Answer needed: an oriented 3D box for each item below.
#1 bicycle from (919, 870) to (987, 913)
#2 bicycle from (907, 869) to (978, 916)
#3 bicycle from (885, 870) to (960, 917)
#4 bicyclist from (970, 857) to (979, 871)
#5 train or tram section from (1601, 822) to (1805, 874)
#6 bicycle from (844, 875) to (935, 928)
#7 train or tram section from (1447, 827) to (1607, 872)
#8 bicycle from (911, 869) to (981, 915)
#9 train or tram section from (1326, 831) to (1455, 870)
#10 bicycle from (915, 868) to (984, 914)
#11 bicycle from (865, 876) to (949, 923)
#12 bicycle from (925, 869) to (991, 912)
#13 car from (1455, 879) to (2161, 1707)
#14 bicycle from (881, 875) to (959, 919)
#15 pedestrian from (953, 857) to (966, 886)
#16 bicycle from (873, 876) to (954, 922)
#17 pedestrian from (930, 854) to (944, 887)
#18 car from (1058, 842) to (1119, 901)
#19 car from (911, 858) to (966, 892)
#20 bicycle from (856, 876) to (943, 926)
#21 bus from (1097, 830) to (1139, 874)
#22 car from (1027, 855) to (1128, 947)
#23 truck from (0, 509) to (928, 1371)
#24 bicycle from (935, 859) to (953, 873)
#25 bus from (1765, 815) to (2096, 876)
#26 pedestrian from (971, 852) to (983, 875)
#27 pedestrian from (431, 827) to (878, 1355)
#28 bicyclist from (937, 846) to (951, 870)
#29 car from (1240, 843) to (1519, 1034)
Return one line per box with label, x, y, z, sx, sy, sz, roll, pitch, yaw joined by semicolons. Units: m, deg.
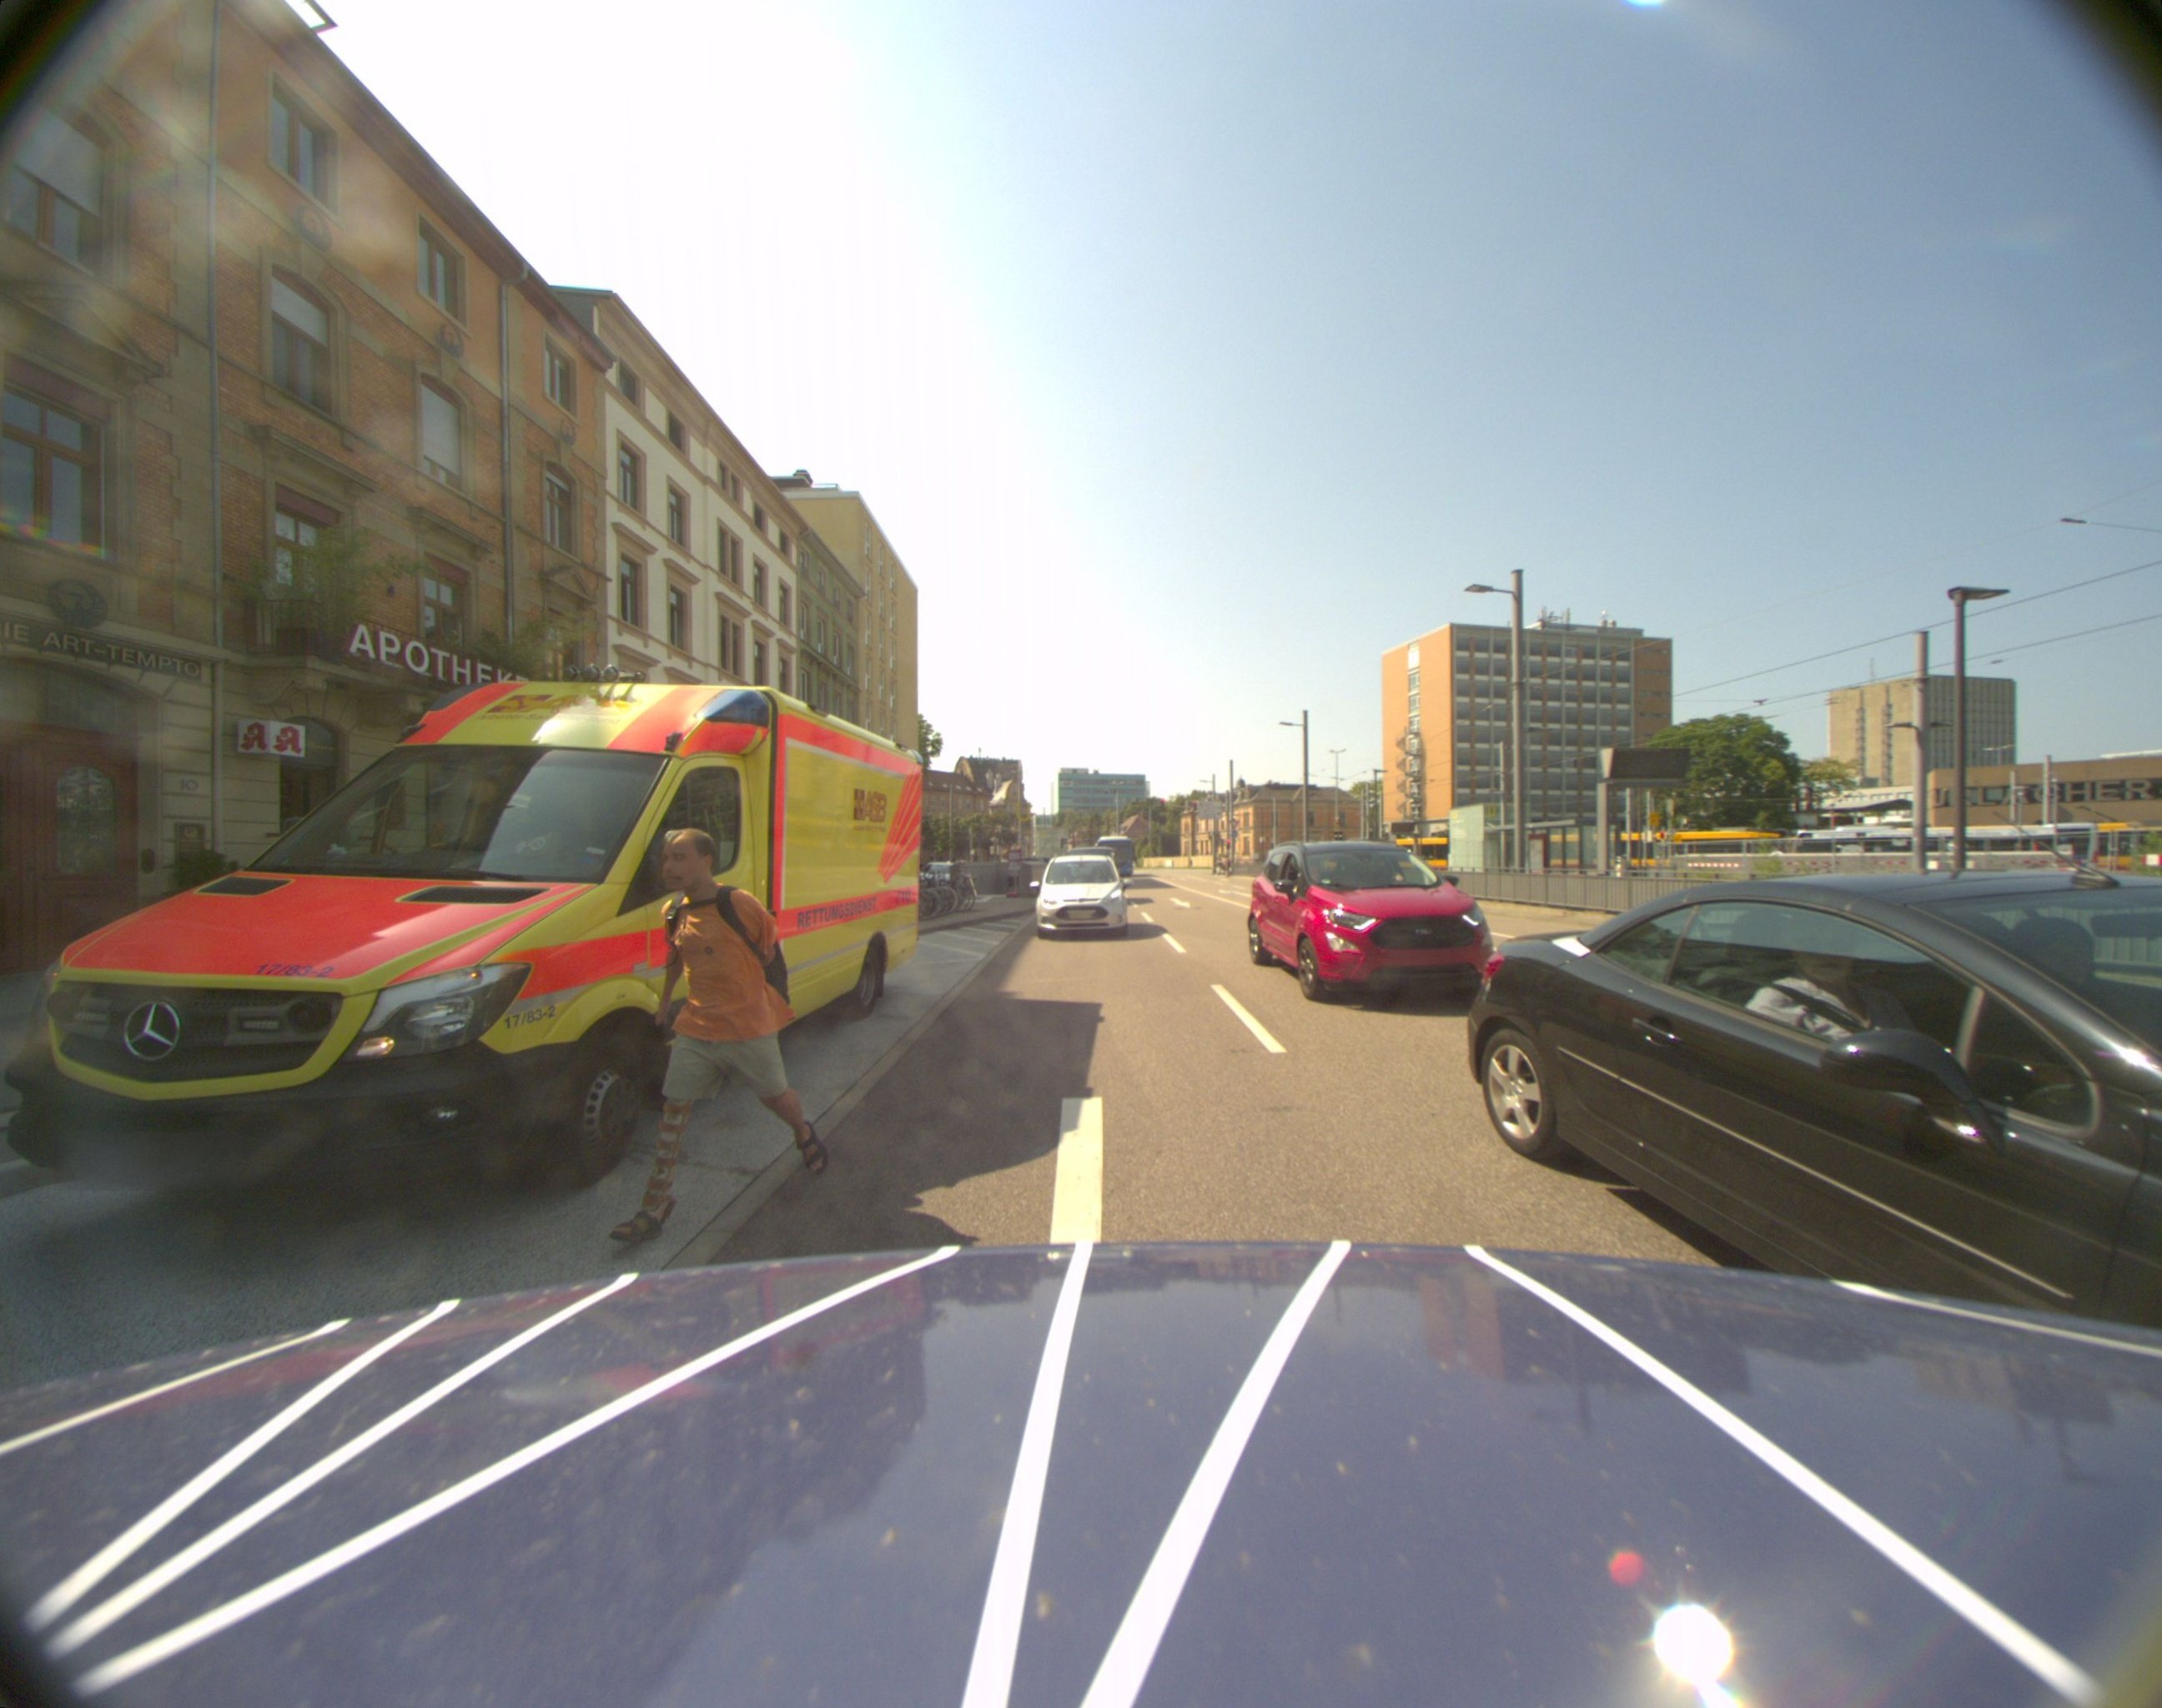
bicycle;-3.712;1.082;22.099;1.841;1.196;0.434;-2;1;1
bicycle;-3.768;1.040;20.722;1.841;1.196;0.434;-2;1;1
bicycle;-4.217;1.051;20.320;1.841;1.196;0.549;-2;1;1
bicyclist;-13.977;1.319;99.389;0.857;1.891;0.665;-2;1;29
train or tram section;48.732;-0.402;60.090;12.331;3.743;2.004;0;0;45
bicycle;-4.210;1.040;16.771;1.807;1.069;0.699;-2;0;0
train or tram section;39.951;-0.360;68.723;12.331;3.743;2.004;0;0;45
bicycle;-3.746;1.045;21.163;1.841;1.196;0.434;-2;1;1
train or tram section;31.163;-0.312;77.361;12.331;3.743;2.004;0;0;45
bicycle;-3.737;1.049;21.620;1.841;1.212;0.434;-2;1;1
bicycle;-4.190;1.082;18.343;1.841;1.047;0.657;-2;0;1
bicycle;-3.656;1.079;22.699;1.841;1.196;0.637;-2;1;1
car;2.816;0.867;2.078;1.692;1.405;3.801;-2;0;0
bicycle;-4.160;1.112;19.701;1.841;1.050;0.657;-2;0;1
pedestrian;-6.778;0.973;42.373;0.645;1.619;0.796;1;1;-2
bicycle;-4.185;1.108;19.010;1.841;1.054;0.657;-2;0;1
pedestrian;-7.653;0.858;40.494;0.689;1.748;0.796;1;1;-7
car;0.279;0.574;28.076;1.998;1.953;4.815;-1;0;1
car;-6.627;0.945;35.710;1.666;1.418;3.934;2;0;2
bicycle;-4.199;1.082;17.645;1.841;1.054;0.657;-2;0;1
bus;2.850;-0.153;61.594;2.919;3.119;12.344;-2;0;1
car;-0.032;0.845;15.610;1.728;1.579;4.000;-3;0;1
truck;-3.176;0.237;5.658;2.333;2.754;6.339;2;1;4
bicycle;-8.918;0.772;49.582;0.721;0.948;2.001;-1;0;1
bus;51.790;-0.385;47.359;13.371;3.275;3.357;-2;0;45
pedestrian;-7.388;0.677;53.926;0.645;1.619;0.797;1;1;5
pedestrian;-1.638;0.795;3.188;0.965;1.730;1.240;-3;0;12
bicyclist;-8.928;0.259;49.570;0.721;1.577;1.103;-1;0;1
car;2.998;0.724;8.554;1.634;1.611;3.968;-2;0;1
